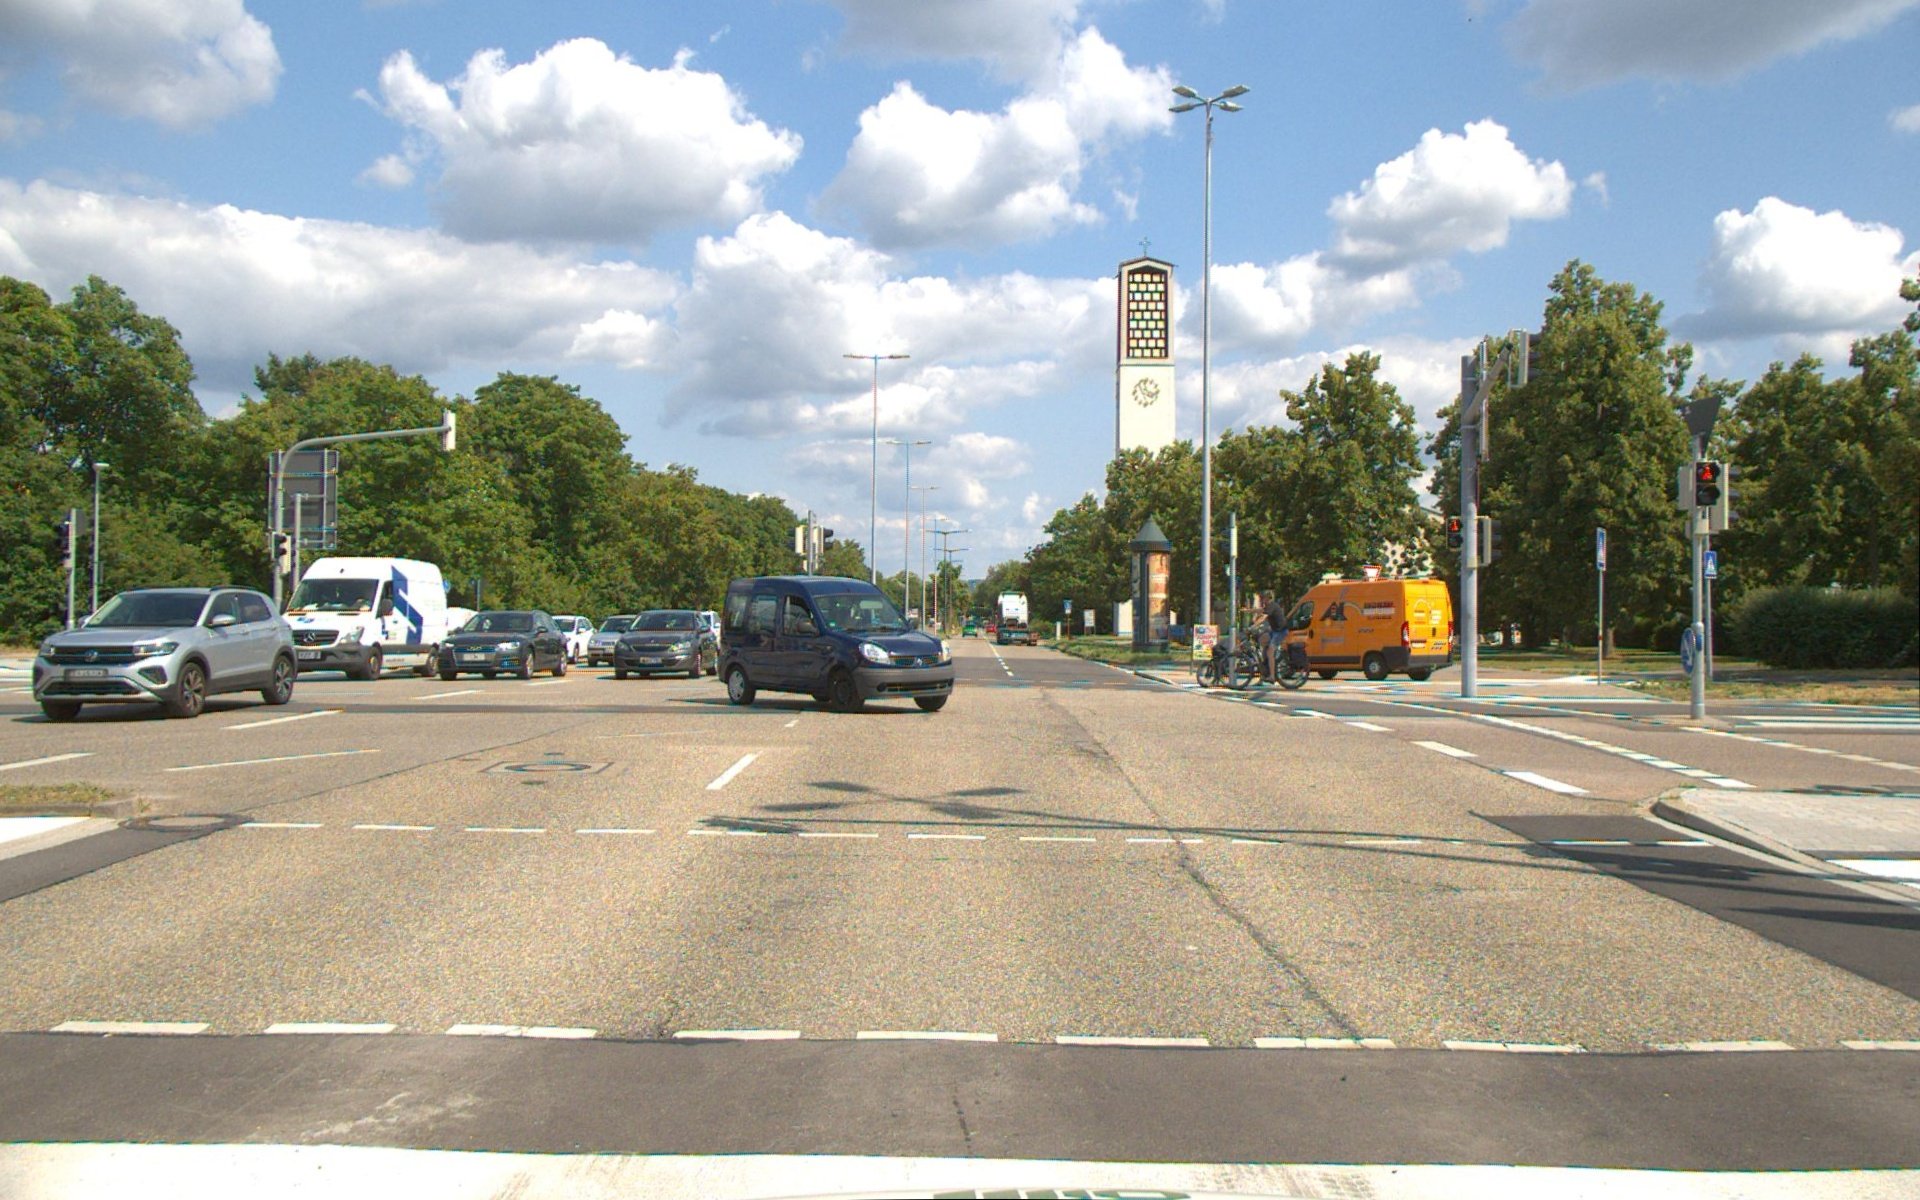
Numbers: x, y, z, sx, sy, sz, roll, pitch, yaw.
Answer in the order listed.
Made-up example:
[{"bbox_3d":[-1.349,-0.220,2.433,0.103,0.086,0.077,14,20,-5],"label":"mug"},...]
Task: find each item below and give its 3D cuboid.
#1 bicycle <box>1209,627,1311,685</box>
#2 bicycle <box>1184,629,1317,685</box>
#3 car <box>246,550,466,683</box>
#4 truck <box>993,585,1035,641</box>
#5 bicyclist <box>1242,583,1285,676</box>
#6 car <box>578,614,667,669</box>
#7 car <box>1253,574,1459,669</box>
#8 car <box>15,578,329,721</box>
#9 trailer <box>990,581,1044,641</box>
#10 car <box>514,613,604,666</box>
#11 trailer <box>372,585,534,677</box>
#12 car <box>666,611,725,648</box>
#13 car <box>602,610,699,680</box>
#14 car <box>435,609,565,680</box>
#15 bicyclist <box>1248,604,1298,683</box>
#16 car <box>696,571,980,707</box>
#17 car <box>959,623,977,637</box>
[{"bbox_3d":[6.001,1.119,33.143,1.955,1.113,0.686,1,-1,4],"label":"bicycle"},{"bbox_3d":[6.105,1.195,34.697,2.796,1.131,0.791,1,0,-25],"label":"bicycle"},{"bbox_3d":[-12.704,0.376,35.334,2.128,2.514,5.969,2,-1,3],"label":"car"},{"bbox_3d":[4.169,1.049,126.272,2.897,4.040,8.640,1,-1,3],"label":"truck"},{"bbox_3d":[6.085,0.579,33.143,0.770,1.836,0.686,1,-1,4],"label":"bicyclist"},{"bbox_3d":[-9.559,1.156,47.121,1.690,1.422,3.999,2,-1,-1],"label":"car"},{"bbox_3d":[10.080,0.517,42.422,2.188,2.265,4.795,3,-1,-37],"label":"car"},{"bbox_3d":[-9.894,0.605,21.187,1.698,1.570,4.310,2,-1,3],"label":"car"},{"bbox_3d":[4.164,0.890,118.522,3.544,4.082,11.322,1,-1,3],"label":"trailer"},{"bbox_3d":[-12.545,1.231,51.955,1.820,1.539,3.999,2,-1,-1],"label":"car"},{"bbox_3d":[-12.393,0.760,40.862,2.080,2.049,5.163,2,-1,3],"label":"trailer"},{"bbox_3d":[-9.442,1.052,59.236,1.516,1.238,3.489,2,-1,-1],"label":"car"},{"bbox_3d":[-6.539,0.937,35.236,1.537,1.339,3.430,2,-1,-3],"label":"car"},{"bbox_3d":[-9.412,0.899,34.086,1.728,1.375,3.518,1,-1,-1],"label":"car"},{"bbox_3d":[6.607,0.907,34.926,0.689,1.644,0.791,1,-1,-24],"label":"bicyclist"},{"bbox_3d":[-1.756,0.494,22.687,1.724,1.689,4.169,3,-1,-41],"label":"car"},{"bbox_3d":[0.972,3.486,192.390,1.953,1.579,3.999,2,-1,-1],"label":"car"}]
